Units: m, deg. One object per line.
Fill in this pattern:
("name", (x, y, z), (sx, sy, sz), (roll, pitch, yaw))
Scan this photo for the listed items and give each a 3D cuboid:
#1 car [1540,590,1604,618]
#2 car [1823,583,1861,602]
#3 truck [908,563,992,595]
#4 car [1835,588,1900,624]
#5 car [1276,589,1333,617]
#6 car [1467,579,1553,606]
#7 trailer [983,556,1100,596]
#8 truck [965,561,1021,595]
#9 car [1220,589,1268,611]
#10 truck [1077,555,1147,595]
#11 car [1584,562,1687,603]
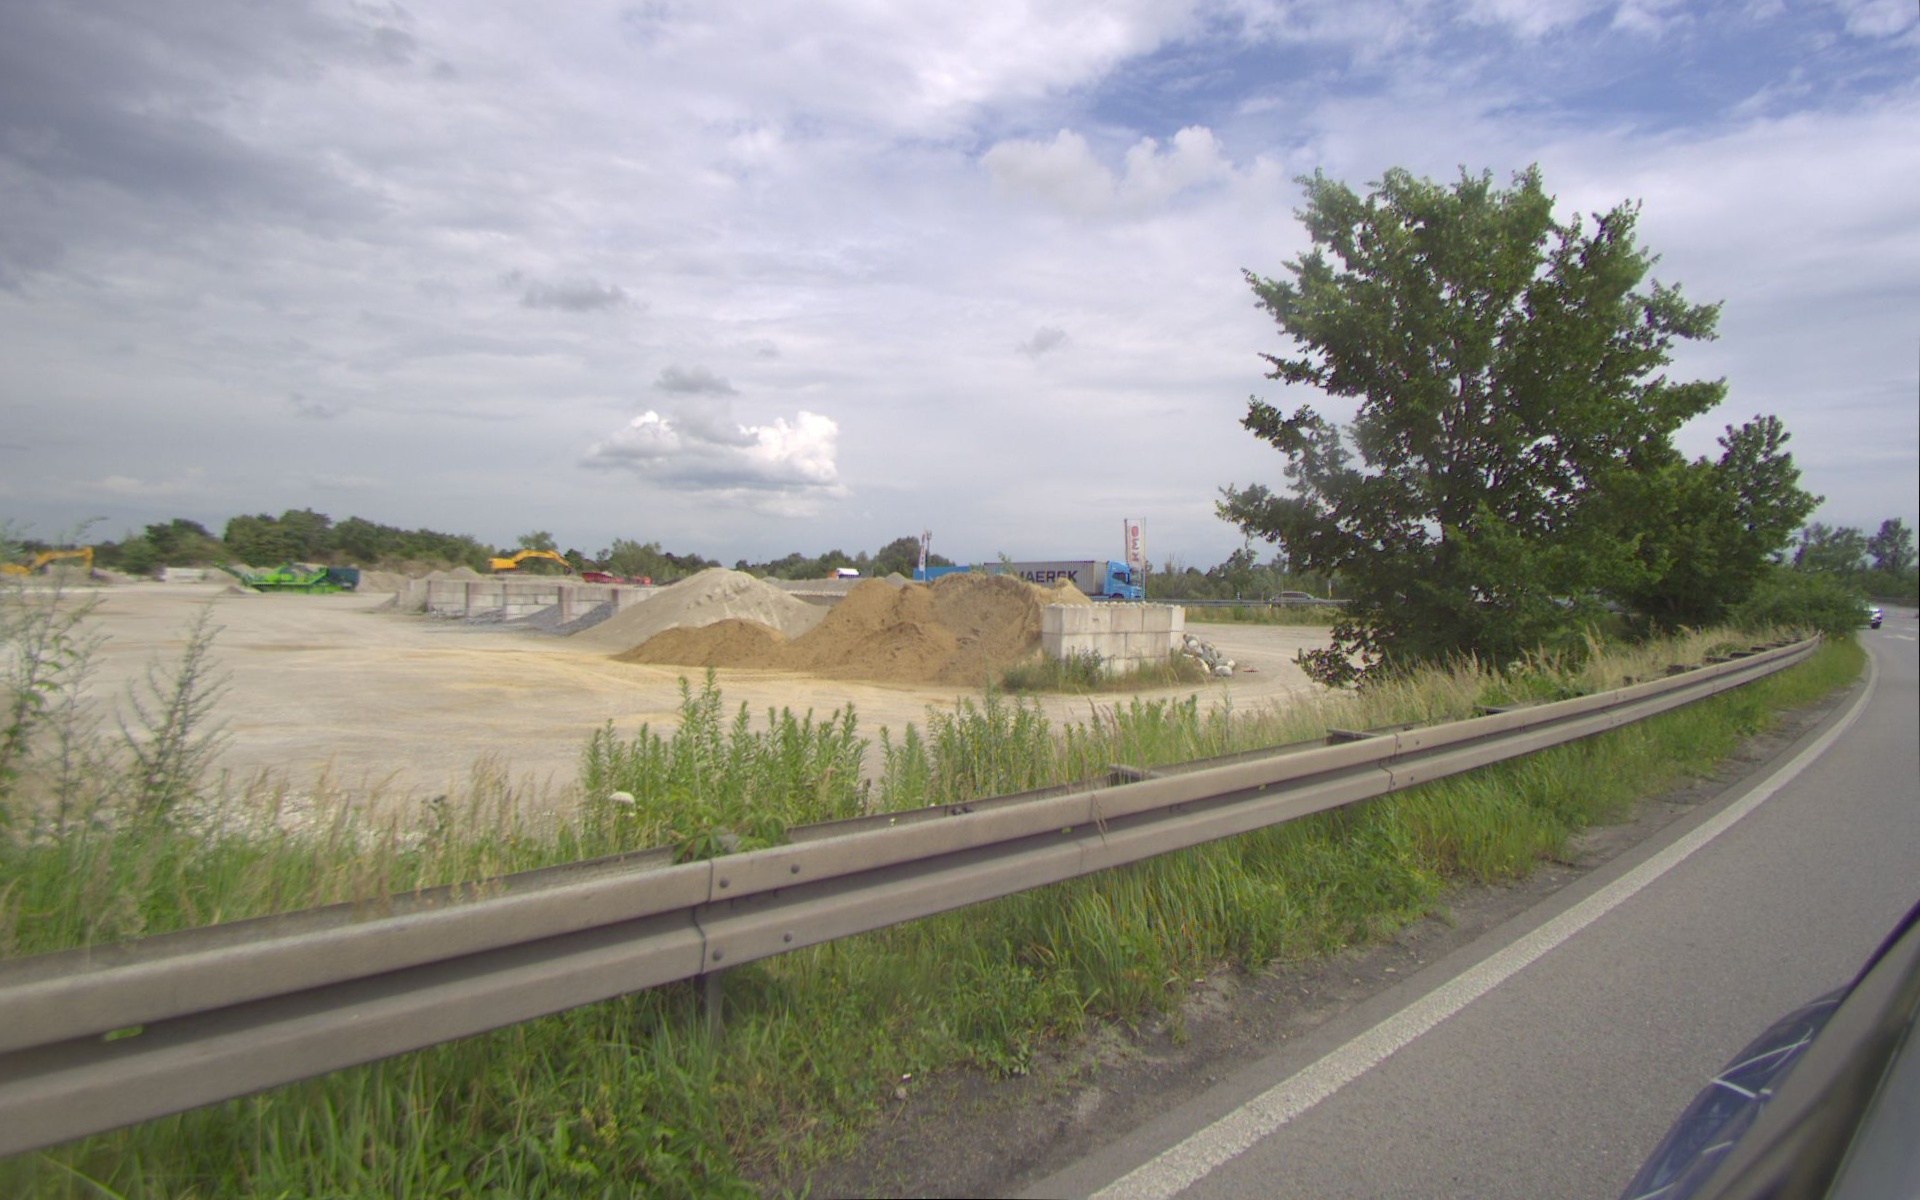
("car", (45.177, 0.285, 74.740), (3.972, 2.039, 1.976), (1, 0, 34))
("car", (95.849, -0.816, 110.033), (1.978, 2.039, 3.968), (0, 0, 24))
("truck", (-1.187, -2.103, 106.272), (2.348, 3.093, 11.750), (1, -1, -37))
("car", (43.560, 0.274, 48.668), (2.011, 1.633, 4.221), (0, 0, 38))
("car", (27.324, 0.224, 80.305), (3.968, 2.039, 1.910), (2, 0, 31))
("car", (43.109, -0.580, 79.366), (5.850, 2.039, 2.038), (0, -1, 31))
("trailer", (7.261, -2.102, 91.928), (11.165, 3.352, 2.360), (0, -1, 37))
("truck", (3.251, -2.130, 100.397), (2.348, 3.093, 5.982), (1, -1, -37))
("car", (26.434, -0.015, 94.267), (3.968, 2.039, 1.910), (0, -1, 31))
("truck", (13.152, -2.121, 87.749), (5.552, 3.347, 2.365), (0, -1, 32))
("car", (45.130, -1.204, 67.678), (5.402, 2.599, 2.420), (2, 0, 44))
